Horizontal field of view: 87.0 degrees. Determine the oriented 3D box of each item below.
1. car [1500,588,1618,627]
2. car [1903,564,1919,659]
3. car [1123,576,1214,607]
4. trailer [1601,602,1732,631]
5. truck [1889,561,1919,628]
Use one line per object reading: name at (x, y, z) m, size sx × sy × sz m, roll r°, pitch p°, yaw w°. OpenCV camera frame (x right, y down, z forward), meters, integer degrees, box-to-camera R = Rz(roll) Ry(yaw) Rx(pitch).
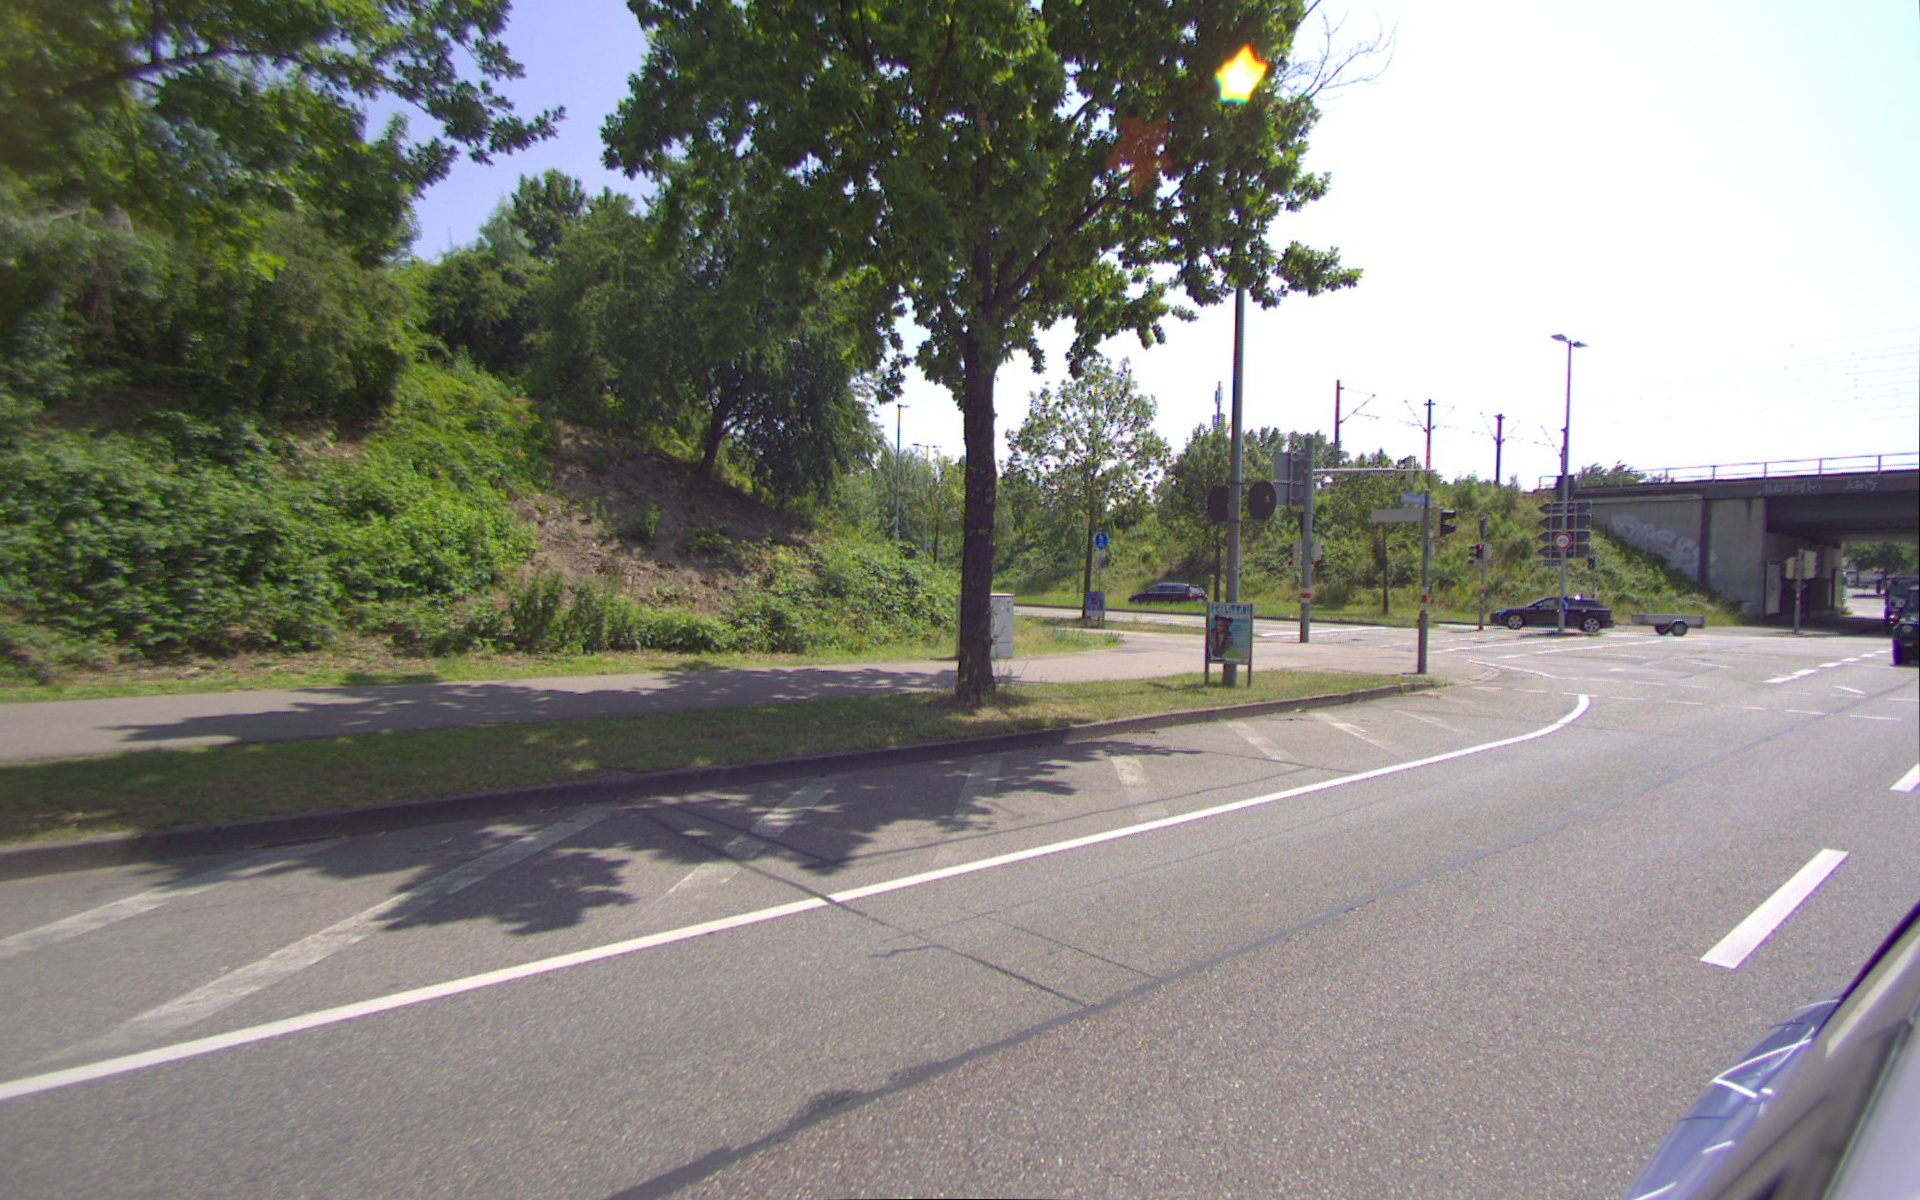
car at (23.866, 0.271, 40.469) m, size 3.863 × 1.407 × 1.794 m, roll 2°, pitch 1°, yaw 26°
car at (24.151, 0.274, 24.223) m, size 4.479 × 2.180 × 1.840 m, roll 0°, pitch 2°, yaw -41°
car at (11.111, -0.482, 54.149) m, size 1.777 × 1.521 × 4.669 m, roll 0°, pitch 2°, yaw -39°
trailer at (27.314, 0.626, 39.247) m, size 3.776 × 0.954 × 1.675 m, roll 2°, pitch 1°, yaw 14°
truck at (45.828, -0.237, 47.476) m, size 8.377 × 2.952 × 2.880 m, roll 0°, pitch 1°, yaw -45°
